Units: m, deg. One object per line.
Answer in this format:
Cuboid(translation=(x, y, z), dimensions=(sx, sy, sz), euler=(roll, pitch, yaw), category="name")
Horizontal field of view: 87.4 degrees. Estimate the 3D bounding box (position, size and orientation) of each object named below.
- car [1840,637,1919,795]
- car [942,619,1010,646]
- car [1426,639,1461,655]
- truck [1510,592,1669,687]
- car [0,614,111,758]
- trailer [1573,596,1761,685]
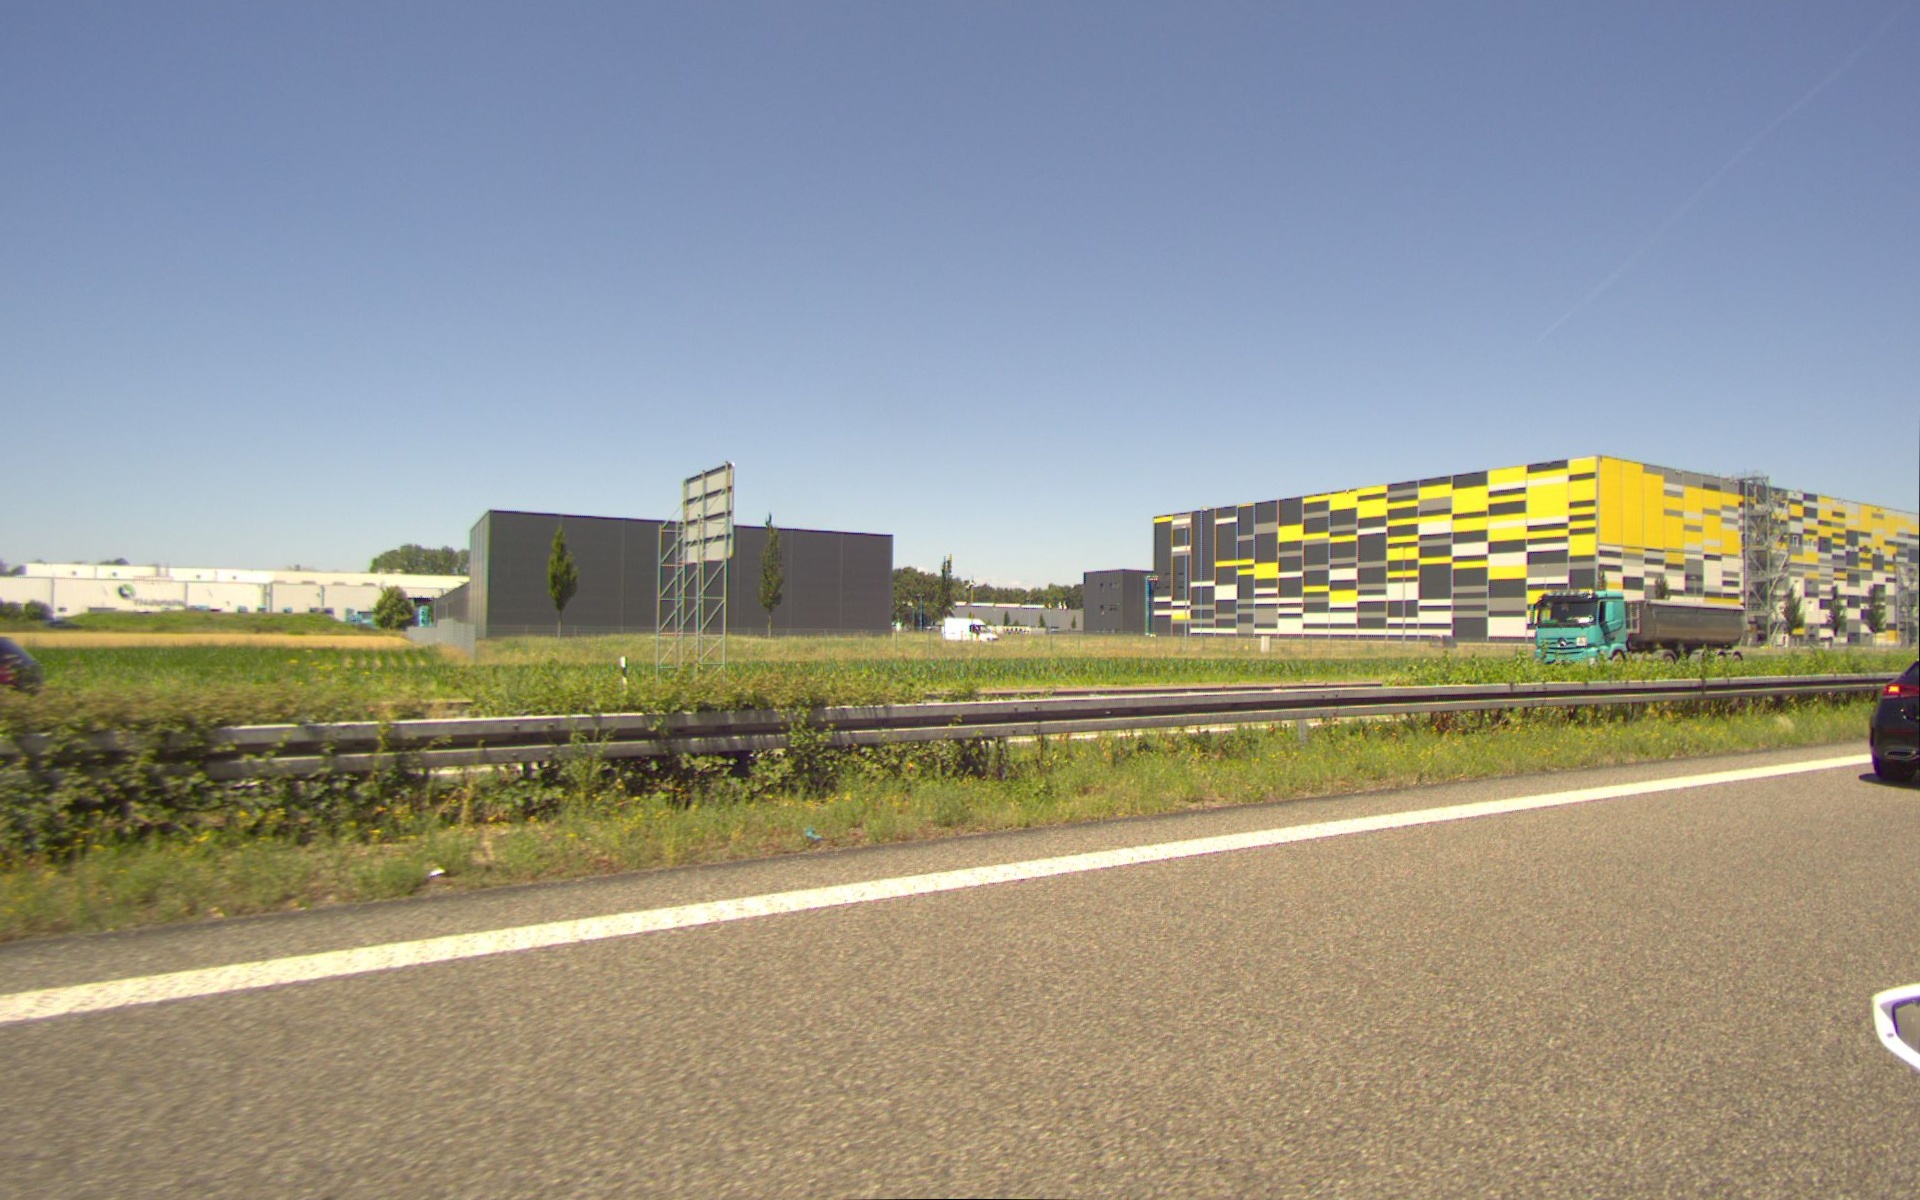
Cuboid(translation=(10.685, 1.127, 9.994), dimensions=(4.006, 1.430, 1.783), euler=(2, -1, -31), category="car")
Cuboid(translation=(1.367, 2.778, 86.009), dimensions=(5.506, 2.206, 2.107), euler=(-1, -2, 28), category="car")
Cuboid(translation=(53.998, 5.272, 112.206), dimensions=(4.067, 1.750, 1.675), euler=(2, -2, -32), category="car")
Cuboid(translation=(23.447, 1.473, 37.366), dimensions=(5.770, 3.293, 2.685), euler=(2, -2, -30), category="truck")
Cuboid(translation=(-13.460, 0.959, 11.330), dimensions=(5.597, 1.661, 1.984), euler=(2, -2, -30), category="car")
Cuboid(translation=(28.495, 1.656, 40.323), dimensions=(9.151, 3.280, 2.662), euler=(2, -2, -31), category="trailer")
